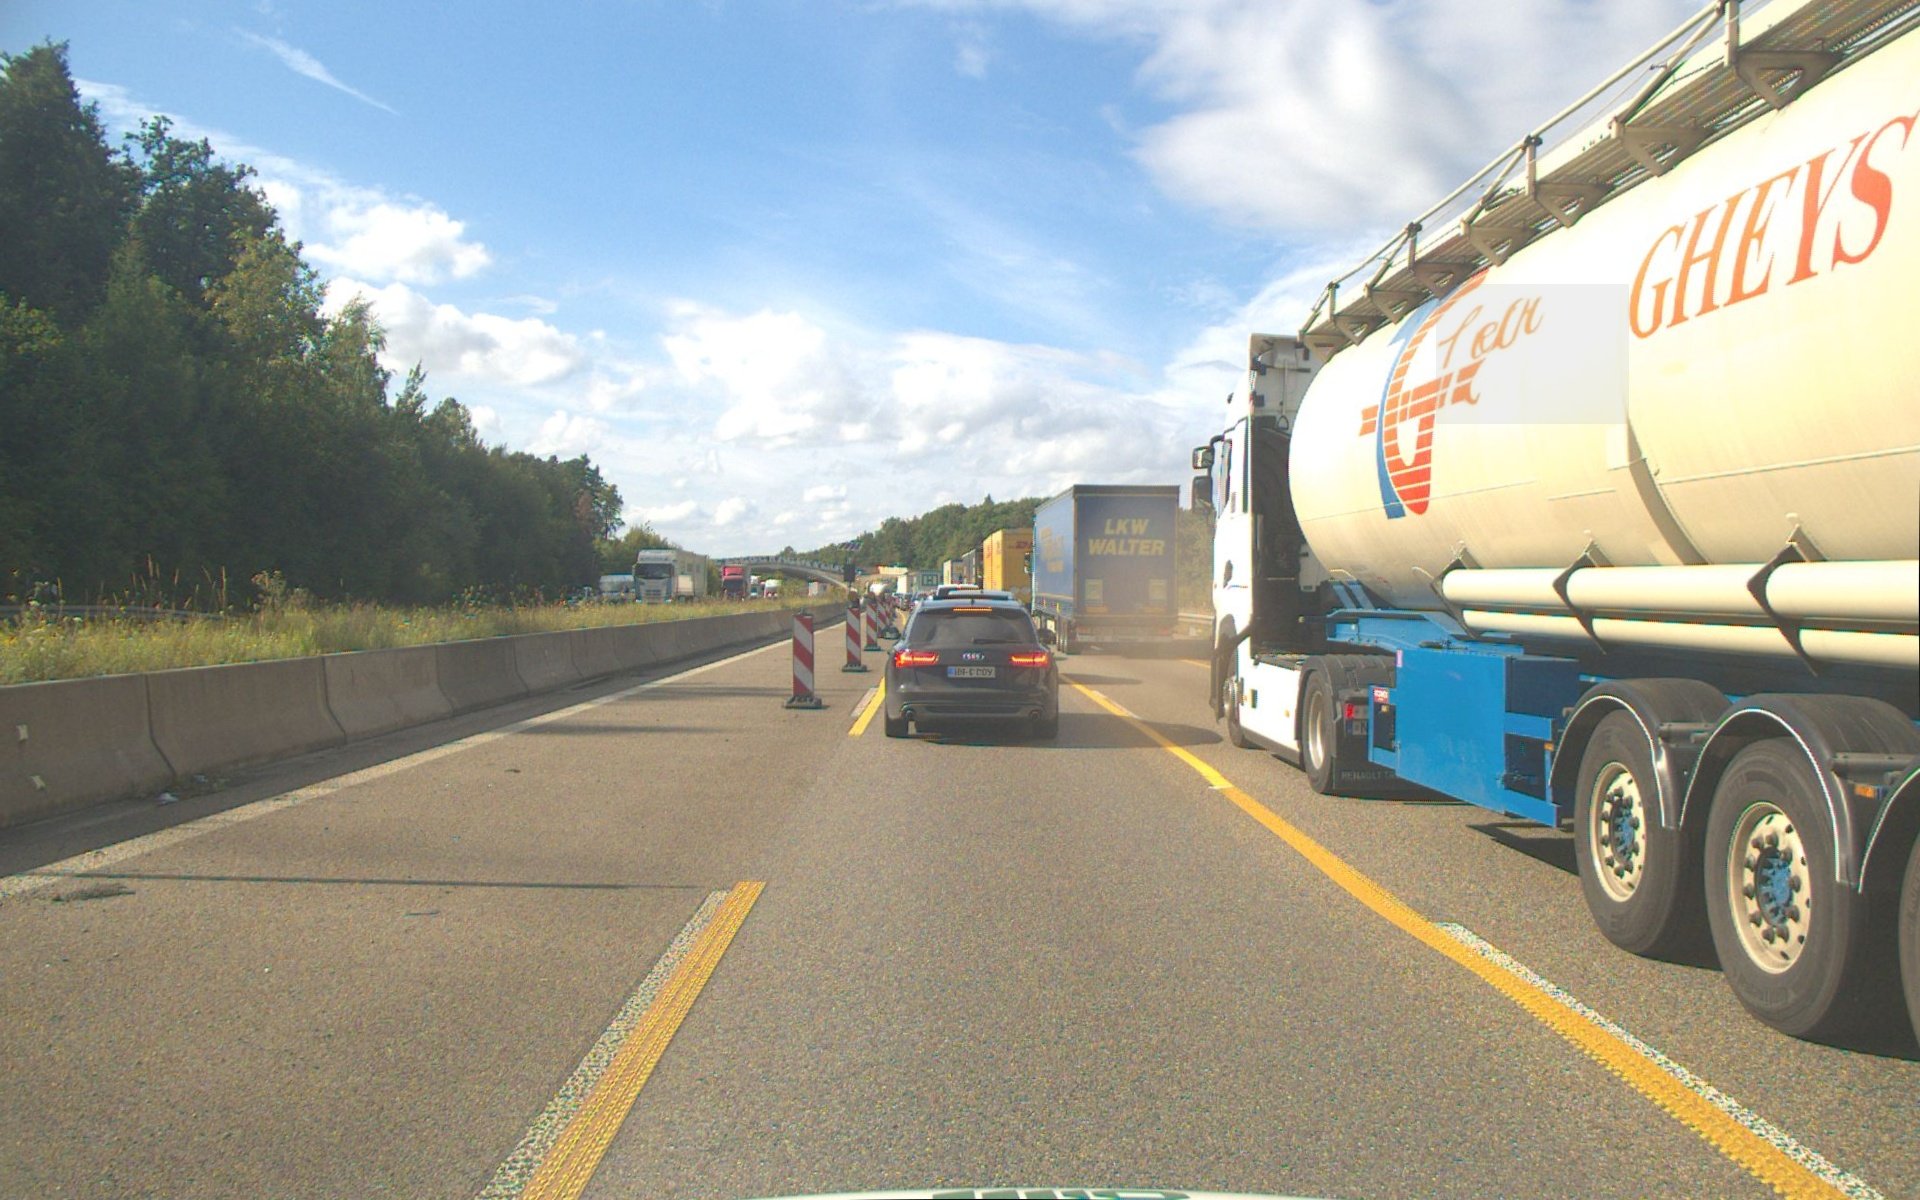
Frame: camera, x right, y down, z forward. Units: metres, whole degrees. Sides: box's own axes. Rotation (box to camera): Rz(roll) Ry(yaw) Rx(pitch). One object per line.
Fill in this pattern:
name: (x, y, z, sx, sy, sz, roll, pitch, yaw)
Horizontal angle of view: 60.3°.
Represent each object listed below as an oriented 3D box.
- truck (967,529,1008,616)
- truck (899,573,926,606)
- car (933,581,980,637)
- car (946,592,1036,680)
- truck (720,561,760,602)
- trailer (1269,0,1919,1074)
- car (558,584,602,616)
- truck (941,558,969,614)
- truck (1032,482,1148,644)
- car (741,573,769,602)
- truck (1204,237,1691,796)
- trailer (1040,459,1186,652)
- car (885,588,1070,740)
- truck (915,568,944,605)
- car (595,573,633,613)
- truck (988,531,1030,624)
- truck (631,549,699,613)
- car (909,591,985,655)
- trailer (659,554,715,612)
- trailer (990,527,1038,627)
truck: (1.617, -1.622, 100.636, 1.953, 5.000, 9.558, 1, 0, -2)
truck: (-6.507, -1.425, 225.880, 3.238, 4.248, 9.695, 1, 0, -4)
car: (-0.123, 0.303, 57.124, 1.549, 1.869, 3.111, 1, 0, -1)
car: (0.514, 0.619, 29.610, 1.493, 1.464, 3.284, 1, 0, -1)
truck: (-22.697, -1.861, 171.134, 2.743, 4.062, 10.184, 1, 0, 0)
trailer: (4.069, -0.618, 8.072, 2.590, 4.012, 12.595, 1, 0, -1)
car: (-24.602, 0.009, 107.274, 1.953, 2.049, 3.999, 1, 0, -1)
truck: (-0.402, -1.055, 131.896, 2.094, 4.332, 7.070, 1, 0, -1)
truck: (3.768, -1.008, 49.700, 2.749, 4.446, 7.790, 1, 0, -1)
car: (-24.753, -1.472, 200.009, 2.436, 3.429, 7.450, 1, 0, -1)
truck: (3.997, -0.596, 14.972, 2.605, 4.041, 5.778, 1, 0, -1)
trailer: (3.838, -1.018, 44.019, 2.748, 4.490, 10.431, 1, 0, -1)
car: (0.157, 0.645, 18.340, 1.811, 1.489, 3.999, 0, 0, -1)
truck: (-3.642, -1.510, 195.439, 3.238, 4.248, 9.697, 0, 0, -2)
car: (-24.495, -0.476, 117.138, 2.208, 2.689, 5.011, 1, 0, -8)
truck: (2.126, -0.962, 72.893, 1.577, 3.965, 4.071, 1, 0, -1)
truck: (-19.737, -1.218, 111.409, 2.726, 4.054, 10.860, 1, 0, -1)
car: (-0.309, 0.538, 39.556, 1.716, 1.421, 3.607, 1, 0, -1)
trailer: (-19.898, -1.187, 121.122, 2.734, 3.992, 8.486, 1, 0, -1)
trailer: (2.213, -0.901, 69.245, 1.584, 3.987, 6.487, 1, 0, -1)
